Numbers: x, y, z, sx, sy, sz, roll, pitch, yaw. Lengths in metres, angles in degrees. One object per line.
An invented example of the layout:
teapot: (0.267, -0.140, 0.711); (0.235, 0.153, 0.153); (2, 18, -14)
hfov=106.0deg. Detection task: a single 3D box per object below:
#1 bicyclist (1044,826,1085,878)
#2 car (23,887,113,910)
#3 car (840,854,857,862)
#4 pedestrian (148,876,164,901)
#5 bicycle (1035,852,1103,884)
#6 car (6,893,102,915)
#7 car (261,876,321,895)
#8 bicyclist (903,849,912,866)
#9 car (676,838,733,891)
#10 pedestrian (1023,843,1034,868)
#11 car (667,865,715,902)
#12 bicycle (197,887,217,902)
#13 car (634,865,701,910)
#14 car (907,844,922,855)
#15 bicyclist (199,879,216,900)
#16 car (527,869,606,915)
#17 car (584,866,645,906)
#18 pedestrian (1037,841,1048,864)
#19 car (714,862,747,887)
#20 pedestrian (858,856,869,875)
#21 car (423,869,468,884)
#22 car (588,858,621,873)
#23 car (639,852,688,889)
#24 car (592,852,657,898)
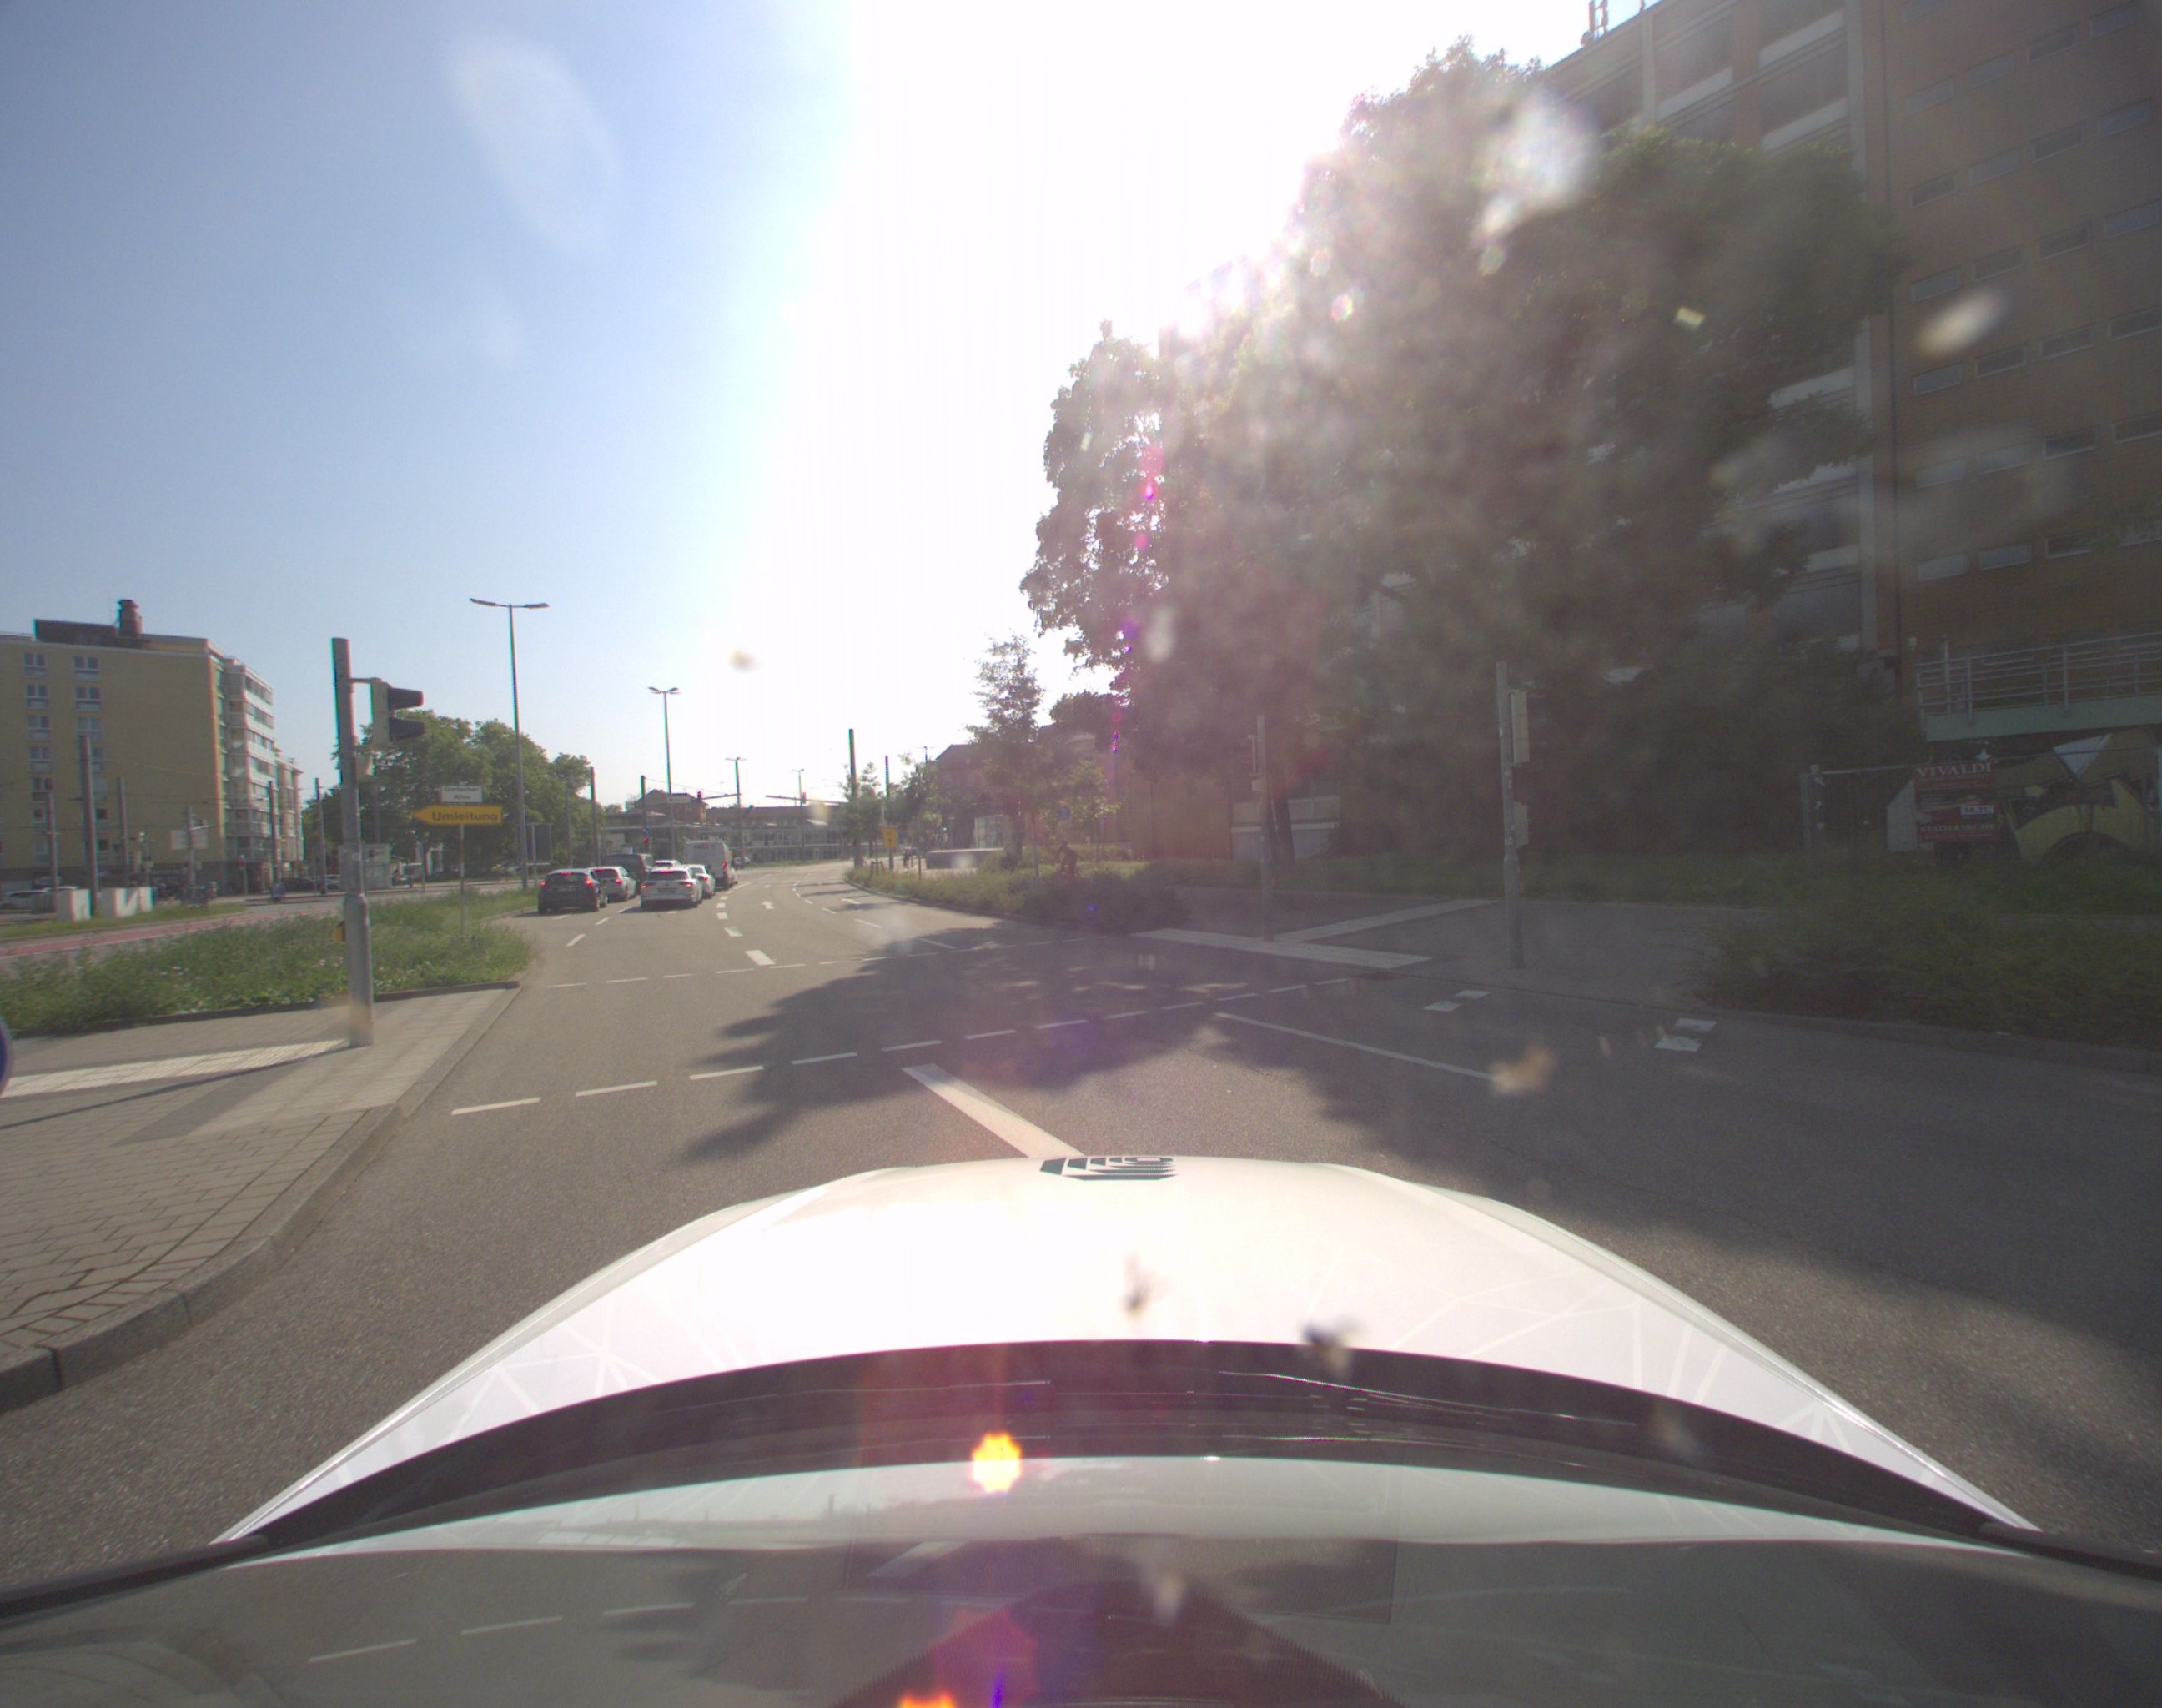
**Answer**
bicyclist: (-0.523, -0.062, 25.991); (0.978, 1.578, 0.779); (-2, 1, 40)
car: (-73.732, 3.204, 59.336); (3.765, 1.393, 1.570); (-3, 1, -35)
car: (-45.469, 0.764, 159.254); (1.986, 1.442, 4.002); (-3, 1, 2)
pedestrian: (-65.268, 2.442, 57.460); (0.456, 1.684, 0.543); (-2, 3, -23)
bicycle: (-0.390, 0.451, 25.902); (2.122, 0.976, 0.779); (-2, 1, 40)
car: (-71.798, 3.488, 57.015); (3.856, 1.180, 1.560); (-3, -2, -32)
car: (-79.451, 3.152, 81.947); (4.017, 1.557, 1.849); (-3, 3, -35)
bicyclist: (-16.296, 0.341, 76.408); (0.712, 1.529, 0.804); (-3, 0, -9)
car: (-19.520, 0.537, 42.414); (2.196, 2.549, 4.652); (-2, 0, -19)
pedestrian: (-3.529, 0.099, 54.893); (0.613, 1.638, 0.533); (-3, 0, -2)
car: (-16.428, 1.202, 34.443); (1.495, 1.403, 3.913); (-2, 0, -22)
bicycle: (-63.636, 2.962, 59.328); (0.733, 0.984, 1.712); (-3, 1, -39)
car: (-14.253, 1.111, 28.213); (1.691, 1.387, 3.608); (-2, 0, -22)
car: (-34.720, -0.940, 170.334); (2.408, 2.013, 4.771); (-3, 1, -5)
bicyclist: (-63.700, 2.578, 59.391); (0.732, 1.434, 0.682); (-3, 0, -39)
car: (-17.286, 1.218, 27.510); (1.710, 1.368, 3.931); (-2, 0, -25)
car: (-19.163, 1.256, 33.551); (1.494, 1.415, 3.624); (-2, 1, -19)
pedestrian: (-2.743, -0.105, 58.002); (0.616, 1.628, 0.530); (-3, 1, -19)
car: (-21.627, 1.227, 50.302); (1.643, 1.403, 3.662); (-2, 0, -20)
pedestrian: (-16.282, 0.876, 61.097); (0.639, 1.362, 0.628); (-3, 0, -26)
car: (-75.745, 2.657, 97.123); (4.014, 1.618, 1.795); (-3, 1, -32)
car: (-72.127, 1.753, 123.253); (4.006, 2.013, 1.984); (-2, 3, -25)
car: (-24.496, 0.933, 47.929); (2.031, 2.008, 4.650); (-2, 0, -21)
car: (-22.337, 0.988, 39.999); (2.031, 2.008, 4.651); (-2, 0, -21)
